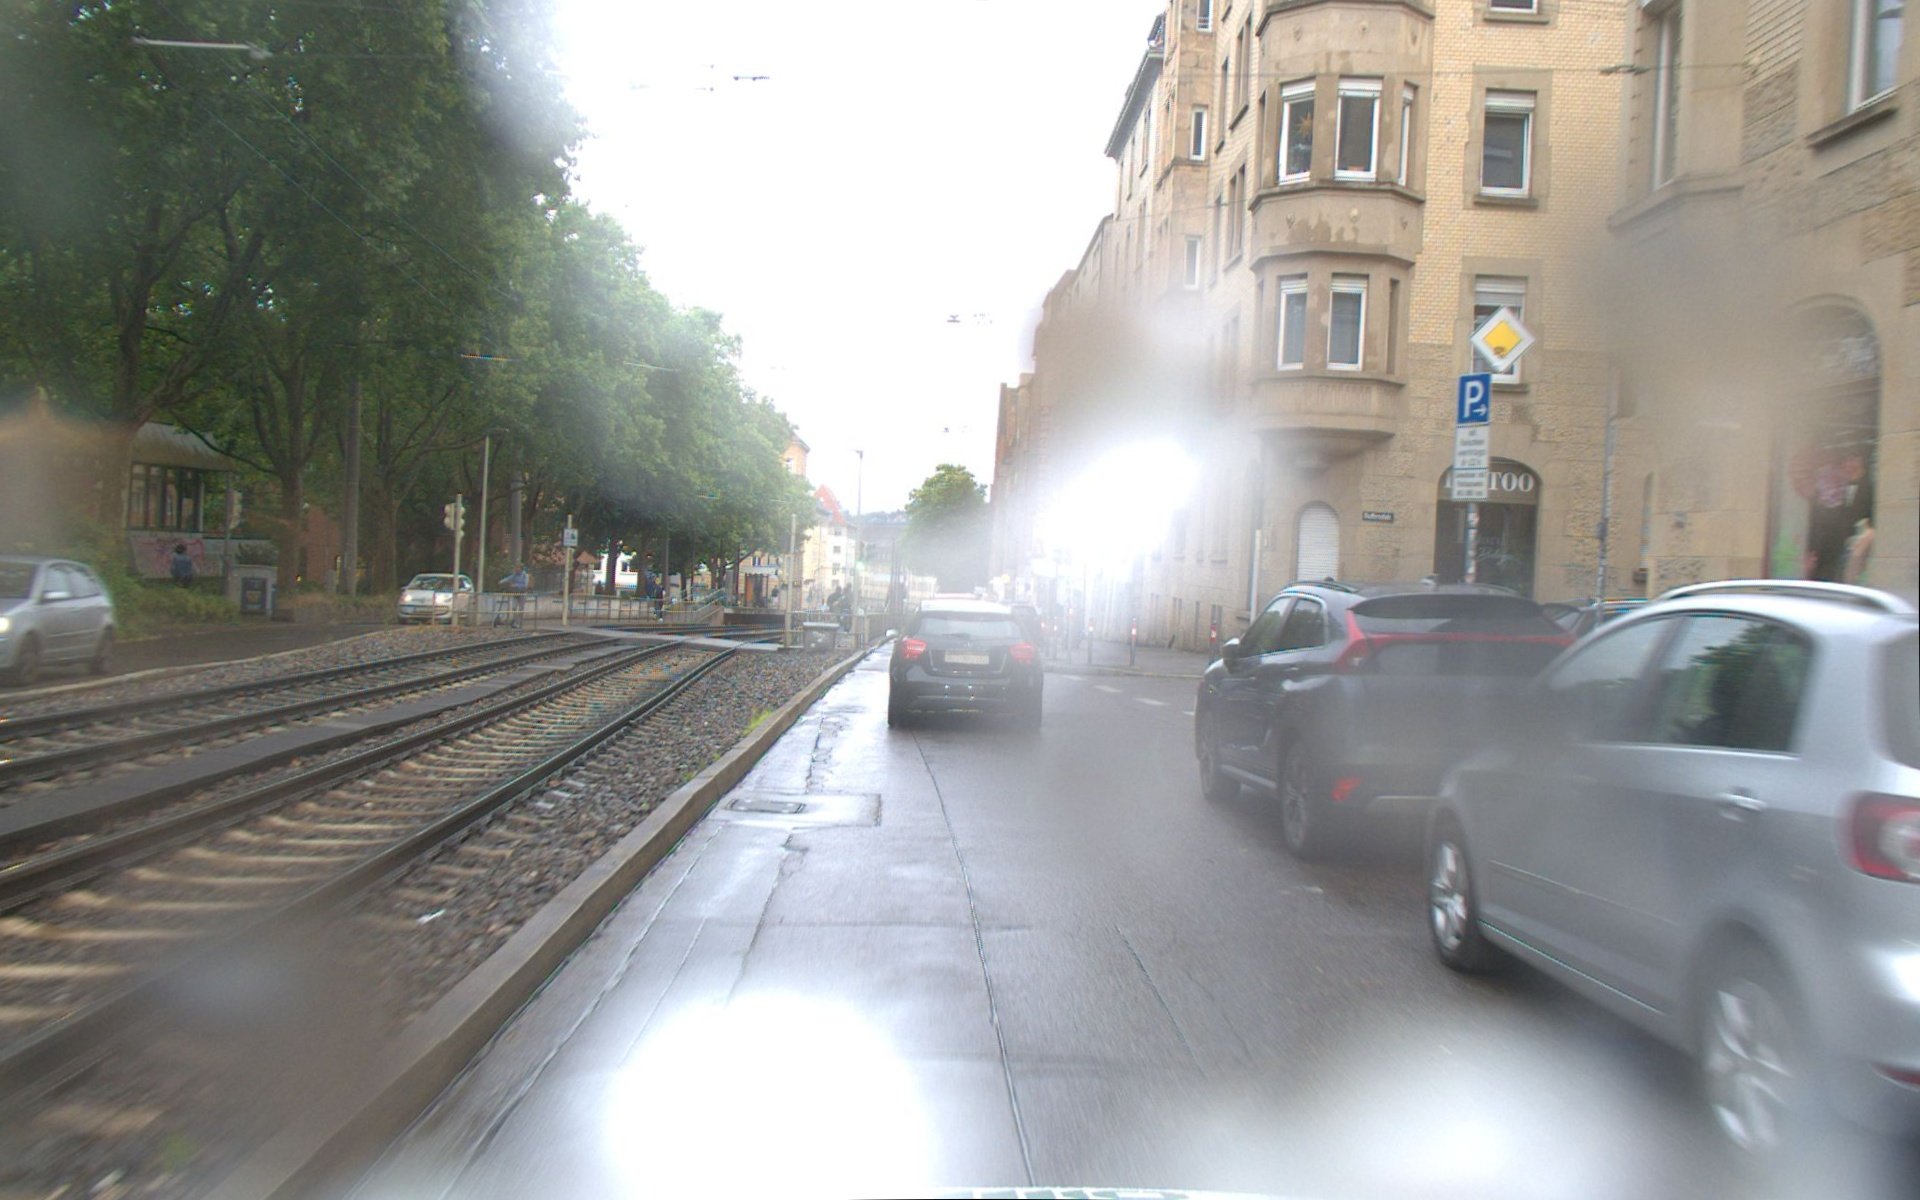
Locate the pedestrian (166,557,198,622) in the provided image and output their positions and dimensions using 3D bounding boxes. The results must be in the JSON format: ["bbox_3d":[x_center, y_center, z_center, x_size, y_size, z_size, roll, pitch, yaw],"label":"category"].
[{"bbox_3d":[-20.725,-0.279,44.076,0.682,1.691,0.638,1,0,-20],"label":"pedestrian"}]

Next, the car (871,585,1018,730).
[{"bbox_3d":[-0.208,0.621,19.691,1.548,1.531,3.573,2,0,-1],"label":"car"}]

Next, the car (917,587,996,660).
[{"bbox_3d":[-0.109,0.536,39.563,1.749,1.609,3.999,2,0,-1],"label":"car"}]

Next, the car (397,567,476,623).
[{"bbox_3d":[-15.307,-0.152,48.486,1.628,1.523,3.778,2,0,-9],"label":"car"}]

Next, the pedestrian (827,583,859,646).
[{"bbox_3d":[-3.157,0.383,44.754,0.789,1.662,0.892,0,0,-1],"label":"pedestrian"}]

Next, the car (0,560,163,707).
[{"bbox_3d":[-11.152,0.303,19.380,1.782,1.531,4.627,2,0,-7],"label":"car"}]

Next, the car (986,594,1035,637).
[{"bbox_3d":[1.927,0.575,64.377,1.724,1.606,3.999,0,0,-1],"label":"car"}]

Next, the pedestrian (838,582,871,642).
[{"bbox_3d":[-3.649,0.410,56.974,1.115,2.033,1.171,0,0,-5],"label":"pedestrian"}]

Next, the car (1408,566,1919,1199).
[{"bbox_3d":[2.942,0.726,5.672,1.659,1.556,3.999,2,0,-1],"label":"car"}]

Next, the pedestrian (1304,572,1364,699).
[{"bbox_3d":[5.474,0.511,24.210,0.680,1.818,0.758,0,0,-2],"label":"pedestrian"}]

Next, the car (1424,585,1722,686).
[{"bbox_3d":[10.076,0.567,27.419,4.247,1.558,1.892,1,0,1],"label":"car"}]

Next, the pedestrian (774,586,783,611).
[{"bbox_3d":[-12.907,-0.093,117.648,0.508,1.747,0.551,3,0,-1],"label":"pedestrian"}]

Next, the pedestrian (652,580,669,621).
[{"bbox_3d":[-13.251,0.016,73.204,0.523,1.784,0.607,3,0,-1],"label":"pedestrian"}]

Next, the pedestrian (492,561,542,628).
[{"bbox_3d":[-11.858,-0.154,44.303,1.033,1.748,0.904,2,0,0],"label":"pedestrian"}]

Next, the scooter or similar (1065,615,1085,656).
[{"bbox_3d":[3.869,1.187,55.843,0.439,1.344,1.776,0,0,-4],"label":"scooter or similar"}]

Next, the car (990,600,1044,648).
[{"bbox_3d":[2.026,0.832,59.810,1.790,1.646,3.863,0,0,-1],"label":"car"}]

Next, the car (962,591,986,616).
[{"bbox_3d":[1.182,0.297,136.991,1.953,2.049,4.000,0,0,0],"label":"car"}]

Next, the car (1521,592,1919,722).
[{"bbox_3d":[9.420,0.671,20.465,4.358,1.510,1.864,0,0,2],"label":"car"}]

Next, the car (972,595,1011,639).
[{"bbox_3d":[1.508,0.782,79.782,1.724,2.049,3.999,0,0,-1],"label":"car"}]

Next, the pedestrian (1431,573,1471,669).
[{"bbox_3d":[8.897,0.373,29.958,0.536,1.717,0.627,1,0,3],"label":"pedestrian"}]

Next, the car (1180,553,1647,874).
[{"bbox_3d":[2.793,0.623,11.260,1.731,1.697,4.330,2,0,-3],"label":"car"}]

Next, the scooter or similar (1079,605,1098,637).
[{"bbox_3d":[5.508,0.888,70.732,0.440,1.344,1.774,0,0,-8],"label":"scooter or similar"}]
